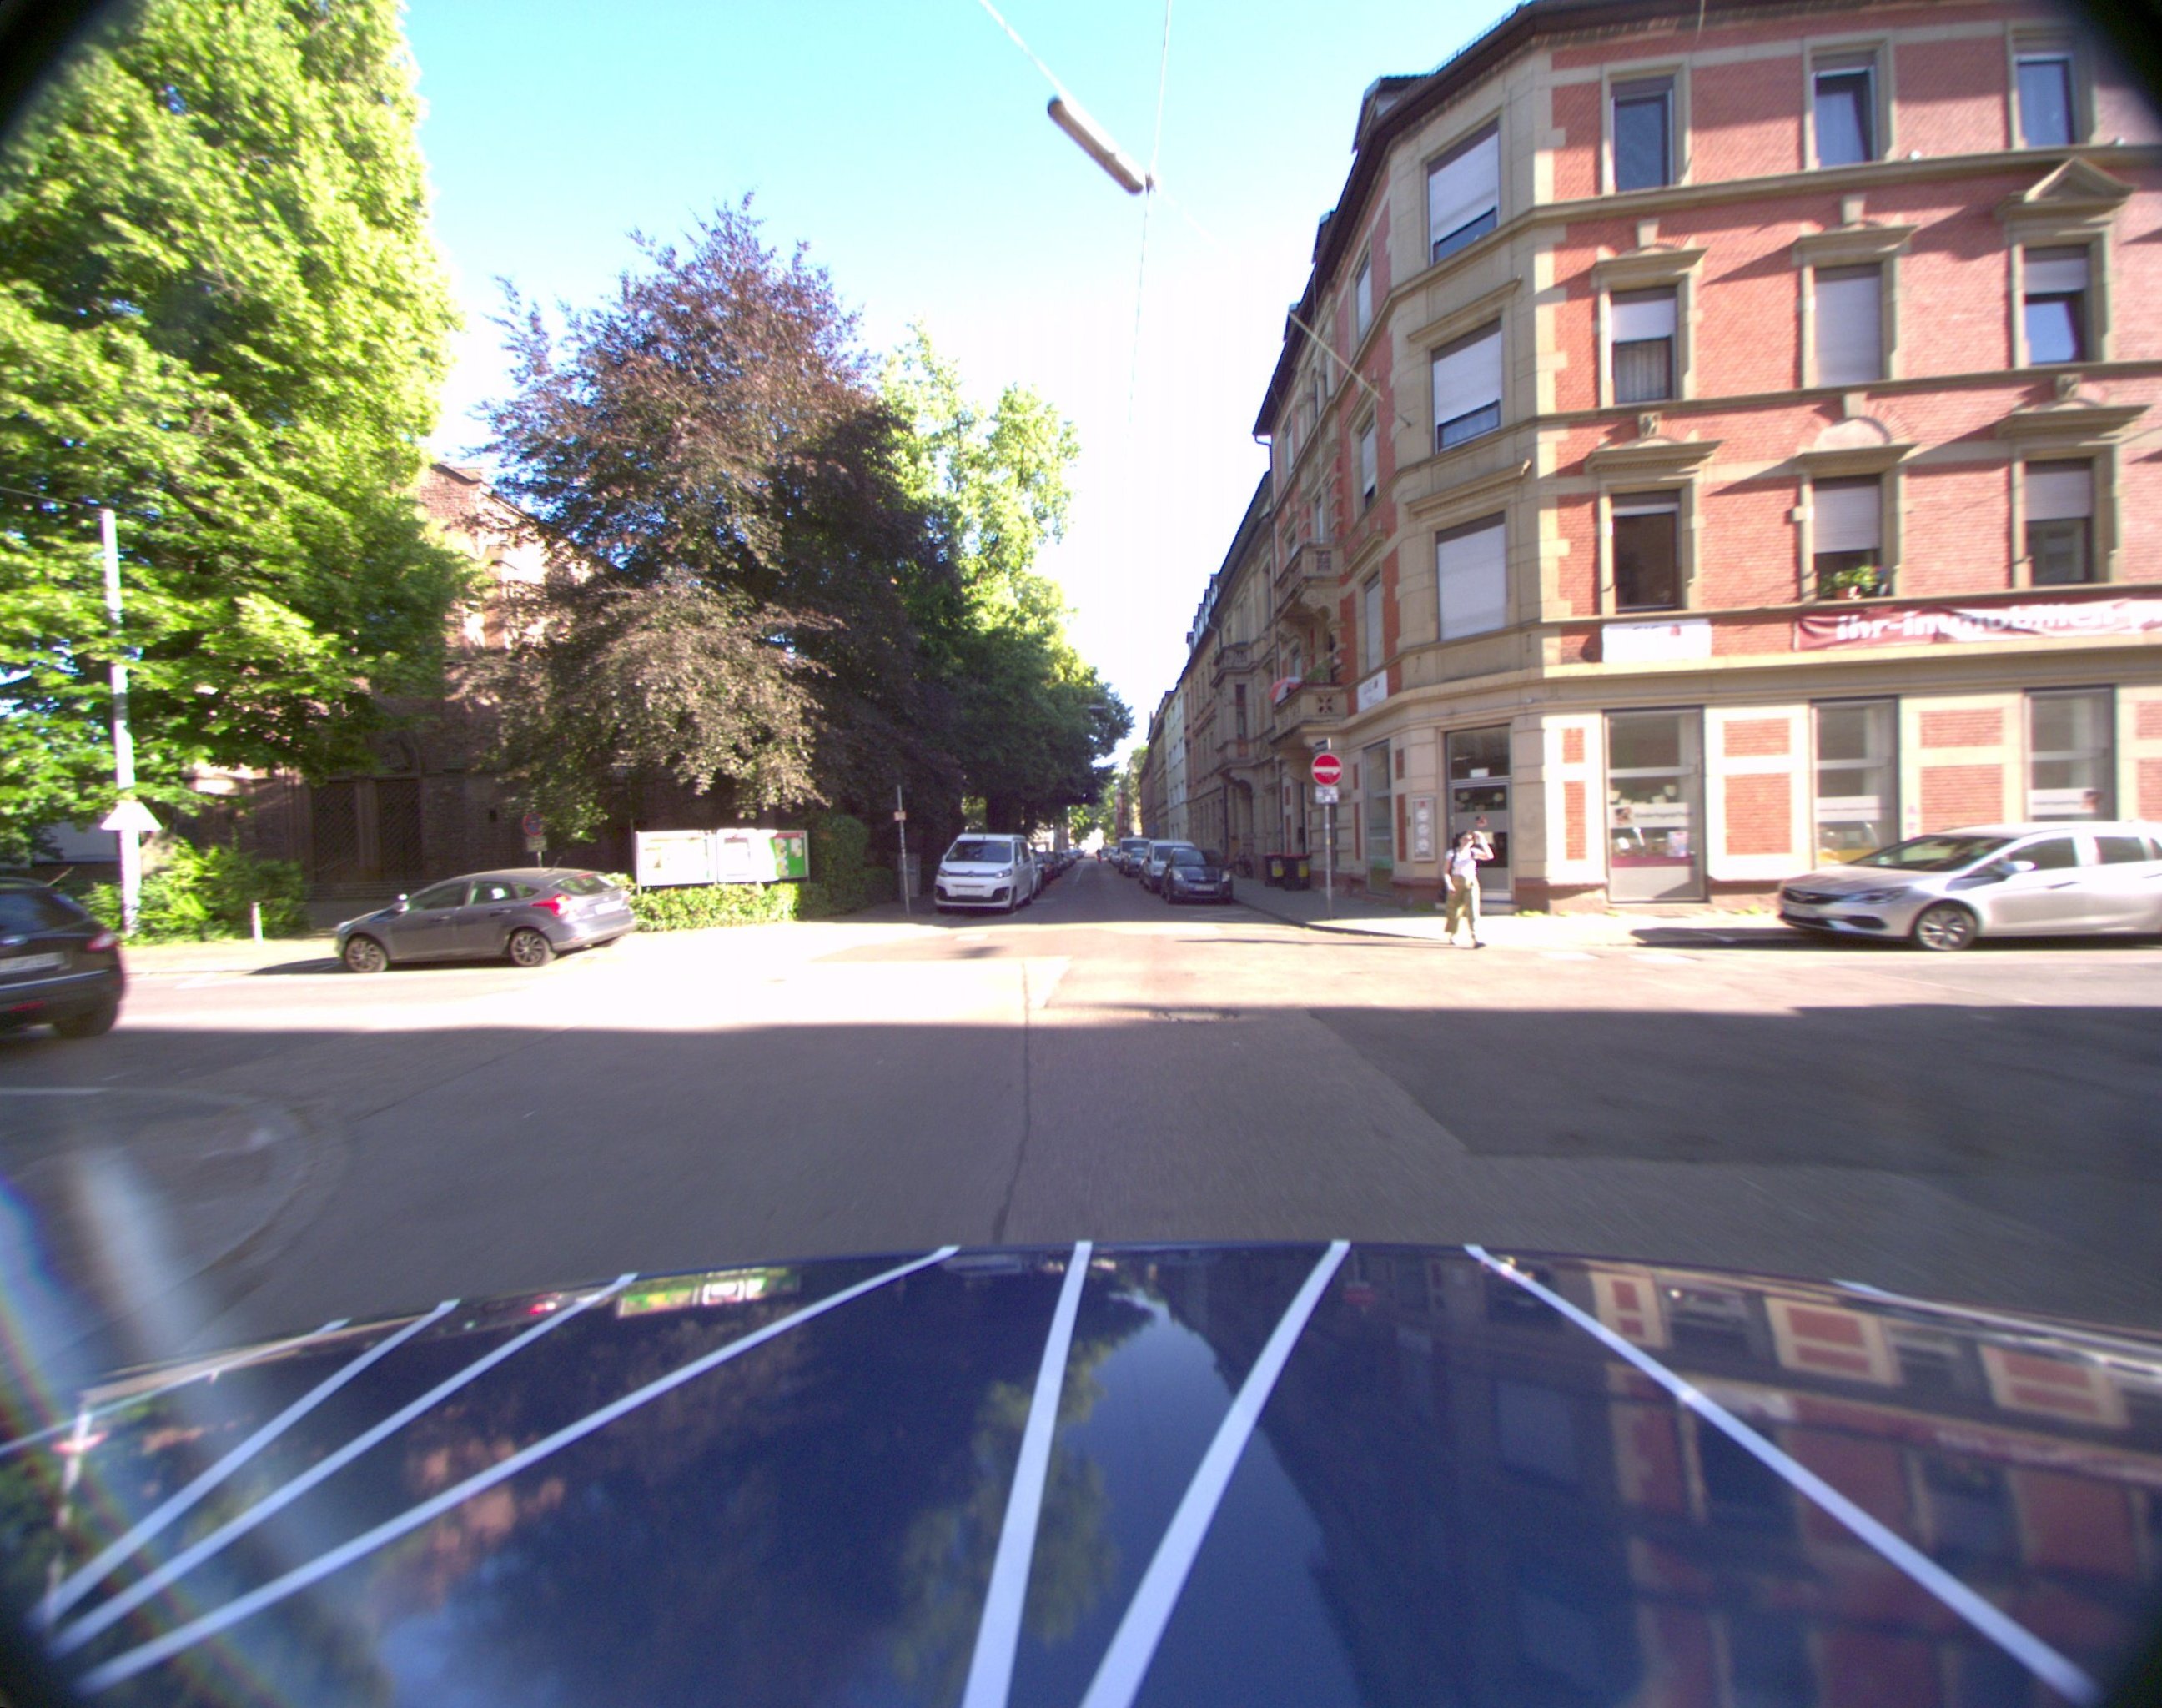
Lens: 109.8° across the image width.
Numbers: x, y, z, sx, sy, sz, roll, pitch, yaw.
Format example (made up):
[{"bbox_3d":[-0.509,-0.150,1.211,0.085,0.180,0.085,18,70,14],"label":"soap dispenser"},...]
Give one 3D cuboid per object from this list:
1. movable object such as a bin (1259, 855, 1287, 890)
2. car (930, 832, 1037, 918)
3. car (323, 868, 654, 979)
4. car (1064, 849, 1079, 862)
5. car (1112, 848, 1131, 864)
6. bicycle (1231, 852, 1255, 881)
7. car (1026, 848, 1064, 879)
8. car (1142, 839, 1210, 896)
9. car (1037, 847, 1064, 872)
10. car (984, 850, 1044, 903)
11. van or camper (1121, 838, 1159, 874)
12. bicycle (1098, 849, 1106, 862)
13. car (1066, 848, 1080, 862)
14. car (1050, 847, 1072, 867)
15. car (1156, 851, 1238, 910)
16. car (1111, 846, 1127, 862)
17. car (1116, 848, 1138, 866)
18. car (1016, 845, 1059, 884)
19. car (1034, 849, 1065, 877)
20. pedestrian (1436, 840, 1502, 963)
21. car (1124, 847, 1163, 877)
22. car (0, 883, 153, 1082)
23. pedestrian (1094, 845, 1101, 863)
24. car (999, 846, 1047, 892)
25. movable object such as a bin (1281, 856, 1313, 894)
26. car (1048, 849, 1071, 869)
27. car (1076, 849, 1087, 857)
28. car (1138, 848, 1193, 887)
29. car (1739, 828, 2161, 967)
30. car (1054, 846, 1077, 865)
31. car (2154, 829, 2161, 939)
[{"bbox_3d":[6.060,0.565,24.025,0.639,1.035,0.856,-4,1,1],"label":"movable object such as a bin"},{"bbox_3d":[-2.400,0.460,19.905,1.918,1.987,4.792,0,1,3],"label":"car"},{"bbox_3d":[-9.440,1.078,12.325,3.928,1.431,1.797,-2,3,4],"label":"car"},{"bbox_3d":[-1.078,0.174,86.111,1.625,1.428,4.002,0,1,0],"label":"car"},{"bbox_3d":[3.966,0.160,74.604,1.713,1.409,3.803,1,1,2],"label":"car"},{"bbox_3d":[6.296,0.475,29.514,0.572,1.035,1.546,-4,1,1],"label":"bicycle"},{"bbox_3d":[-1.931,0.465,41.637,1.622,1.478,3.776,3,1,3],"label":"car"},{"bbox_3d":[3.205,0.421,26.435,1.835,1.801,4.571,0,1,1],"label":"car"},{"bbox_3d":[-2.019,0.358,51.729,1.603,1.497,3.627,3,1,0],"label":"car"},{"bbox_3d":[-2.182,0.691,25.605,1.723,1.562,3.827,-2,1,-1],"label":"car"},{"bbox_3d":[3.603,0.095,47.417,2.182,2.135,5.154,0,1,3],"label":"van or camper"},{"bbox_3d":[2.182,0.185,77.415,0.571,1.236,1.845,-4,1,7],"label":"bicycle"},{"bbox_3d":[-0.973,0.088,91.480,1.713,1.511,3.830,0,1,0],"label":"car"},{"bbox_3d":[-1.686,0.250,64.858,1.603,1.497,3.720,3,1,2],"label":"car"},{"bbox_3d":[3.113,0.663,21.149,1.697,1.472,3.972,0,1,0],"label":"car"},{"bbox_3d":[4.250,0.002,85.318,1.713,1.665,4.277,1,1,2],"label":"car"},{"bbox_3d":[3.845,0.230,64.138,1.735,1.447,4.521,0,1,1],"label":"car"},{"bbox_3d":[-2.052,0.456,36.542,1.622,1.615,3.863,3,1,2],"label":"car"},{"bbox_3d":[-1.930,0.494,46.018,1.680,1.433,4.693,3,1,-3],"label":"car"},{"bbox_3d":[5.397,0.640,10.603,0.549,1.635,0.717,-2,3,1],"label":"pedestrian"},{"bbox_3d":[3.345,0.387,41.057,1.771,1.505,4.193,0,1,0],"label":"car"},{"bbox_3d":[-11.042,1.171,6.676,3.927,1.599,1.761,-2,3,8],"label":"car"},{"bbox_3d":[1.658,-0.054,77.557,0.489,1.793,1.115,-4,1,7],"label":"pedestrian"},{"bbox_3d":[-2.302,0.541,30.984,1.744,1.594,4.262,3,1,-3],"label":"car"},{"bbox_3d":[6.192,0.593,21.779,0.639,1.035,0.856,-4,1,1],"label":"movable object such as a bin"},{"bbox_3d":[-1.661,0.361,60.763,1.603,1.462,3.869,1,1,2],"label":"car"},{"bbox_3d":[0.112,-0.205,152.164,1.998,1.659,4.000,-2,1,3],"label":"car"},{"bbox_3d":[3.431,0.518,31.322,1.697,1.505,3.972,0,1,-2],"label":"car"},{"bbox_3d":[11.667,0.510,9.855,4.436,1.522,1.867,-1,3,7],"label":"car"},{"bbox_3d":[-1.371,0.101,69.140,1.668,1.577,4.100,3,1,3],"label":"car"},{"bbox_3d":[16.615,0.420,9.418,3.688,1.522,1.772,-1,3,7],"label":"car"}]
